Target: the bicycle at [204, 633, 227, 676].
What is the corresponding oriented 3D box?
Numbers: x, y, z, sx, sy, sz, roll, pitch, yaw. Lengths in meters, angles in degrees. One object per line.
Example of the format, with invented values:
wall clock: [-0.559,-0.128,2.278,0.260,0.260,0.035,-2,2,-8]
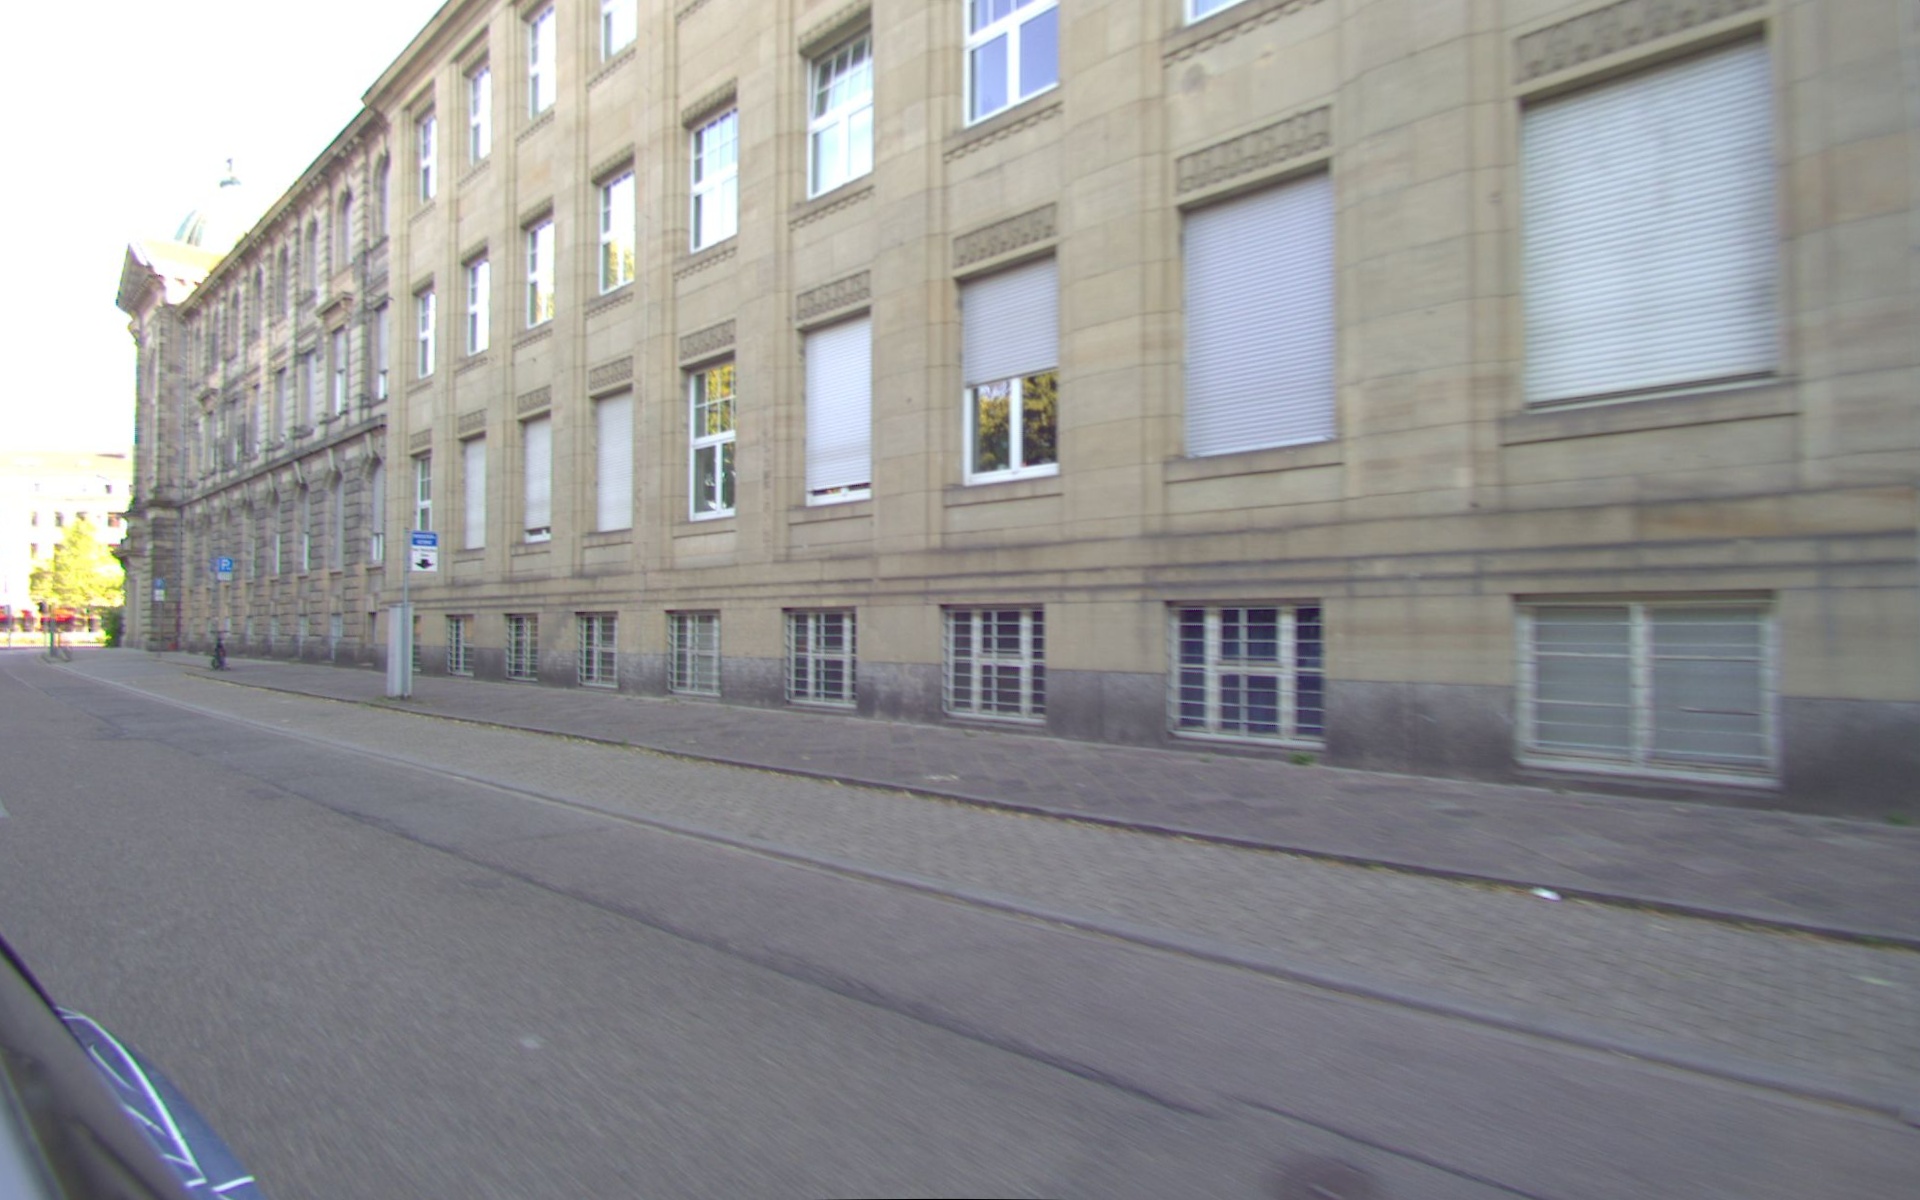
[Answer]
bicycle: [-21.796,1.584,29.604,0.451,1.218,1.881,2,-3,-38]
